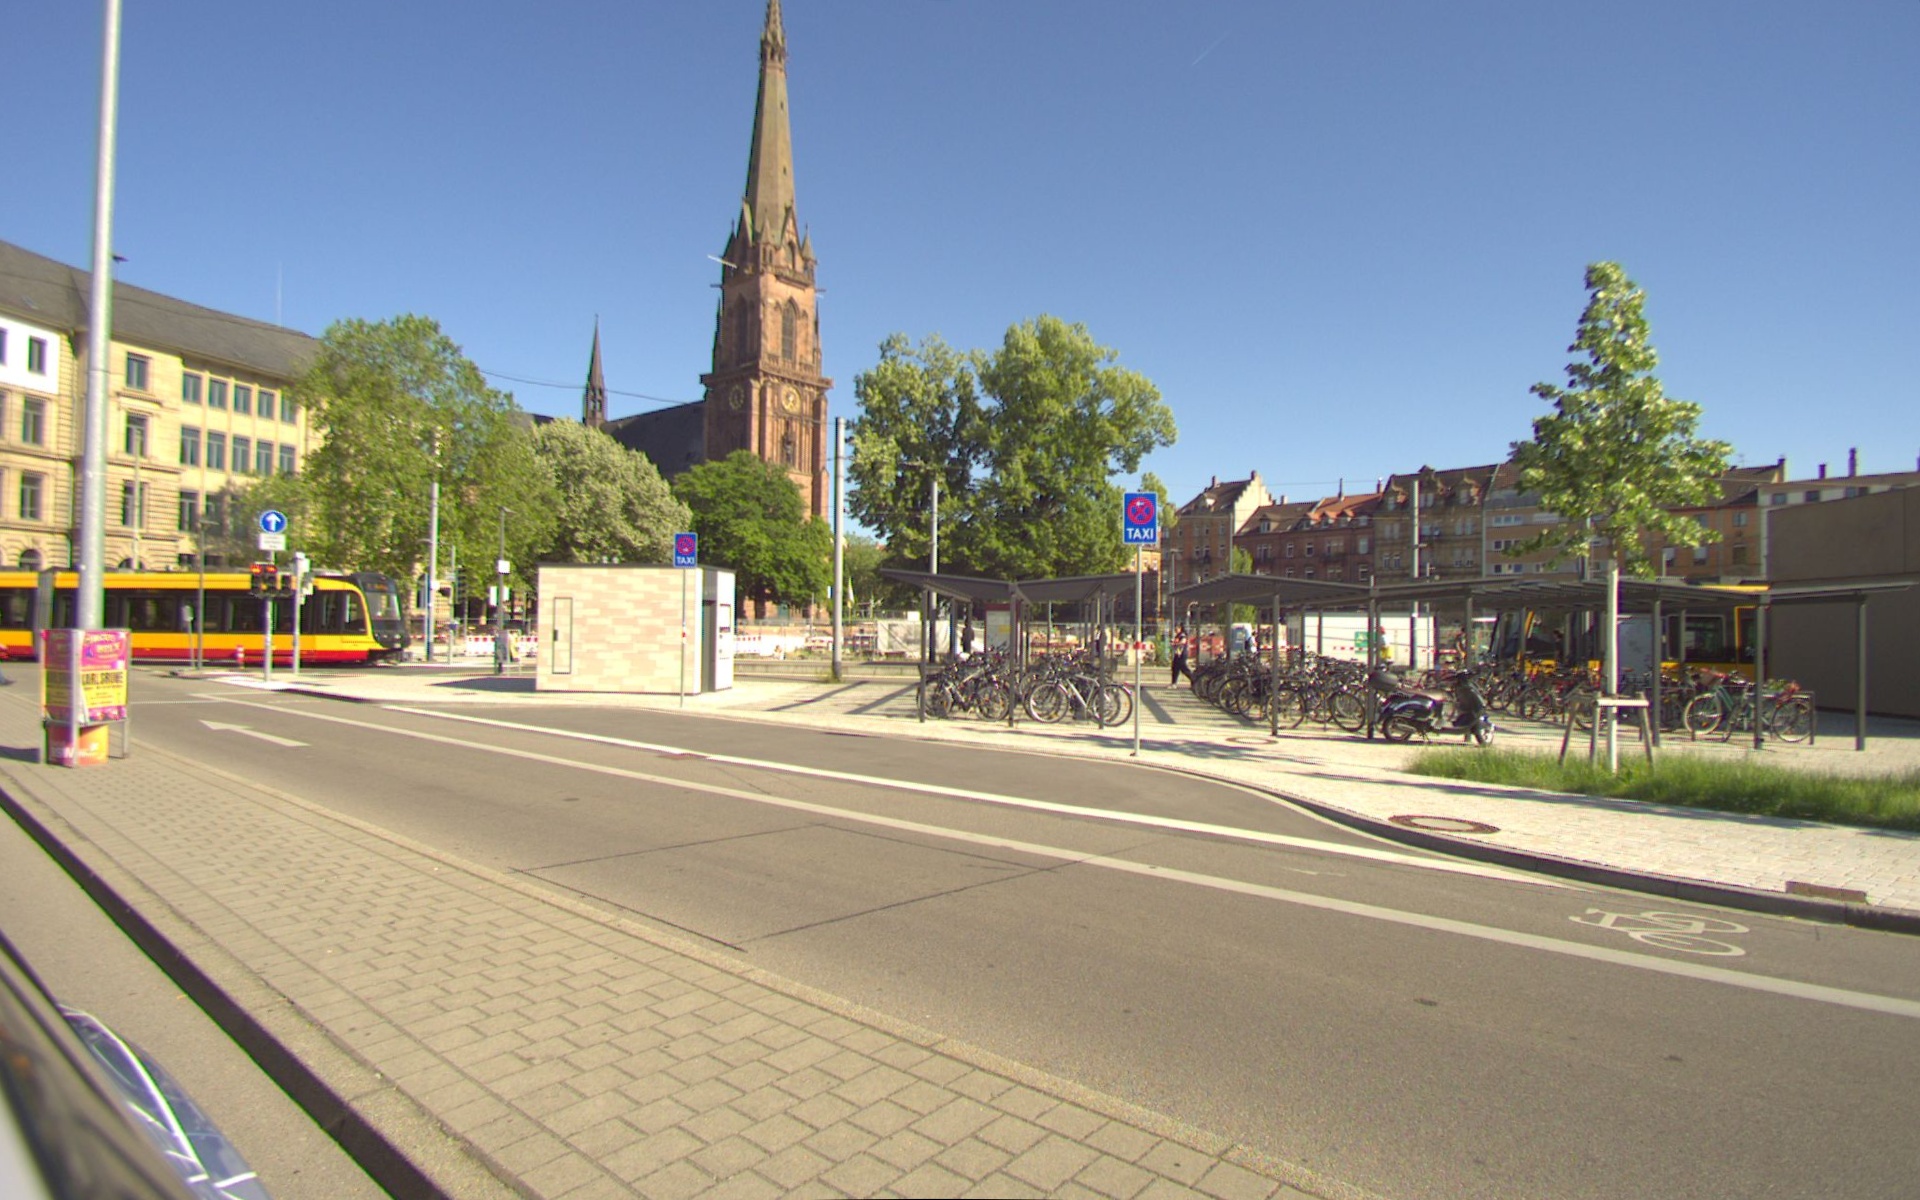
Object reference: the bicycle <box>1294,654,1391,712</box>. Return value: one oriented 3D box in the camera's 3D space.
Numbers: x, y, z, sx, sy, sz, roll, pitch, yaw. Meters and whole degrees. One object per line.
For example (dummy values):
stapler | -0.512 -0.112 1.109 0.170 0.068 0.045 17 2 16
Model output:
bicycle | 8.115 1.746 21.525 1.808 1.170 0.627 0 -2 7

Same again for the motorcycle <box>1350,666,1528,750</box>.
motorcycle | 7.172 1.604 15.230 2.333 1.167 0.610 0 -2 7

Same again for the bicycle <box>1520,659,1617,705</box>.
bicycle | 14.057 1.880 23.402 1.808 1.015 0.627 0 -2 7

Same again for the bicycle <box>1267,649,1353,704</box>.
bicycle | 8.240 1.785 23.873 1.808 1.242 0.627 0 -2 7

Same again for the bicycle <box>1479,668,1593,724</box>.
bicycle | 11.266 1.873 19.837 1.809 1.015 0.627 0 -2 9

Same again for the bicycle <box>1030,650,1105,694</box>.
bicycle | 2.636 1.758 24.806 1.808 1.015 0.627 0 -2 7

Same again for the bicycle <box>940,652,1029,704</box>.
bicycle | 0.516 1.615 21.137 1.809 1.015 0.627 0 -2 9

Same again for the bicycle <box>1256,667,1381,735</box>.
bicycle | 5.981 1.677 16.975 1.871 1.050 0.688 0 -2 9

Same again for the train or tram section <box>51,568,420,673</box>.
train or tram section | -26.460 0.724 37.189 12.174 3.628 2.828 0 -2 6

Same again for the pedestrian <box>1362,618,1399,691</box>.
pedestrian | 11.024 1.418 26.548 0.595 1.869 0.683 2 -2 -38

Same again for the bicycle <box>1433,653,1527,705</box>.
bicycle | 12.005 1.814 23.399 1.809 1.140 0.627 0 -2 9

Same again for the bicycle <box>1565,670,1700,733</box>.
bicycle | 11.607 1.742 17.522 1.872 1.004 0.499 0 -2 13

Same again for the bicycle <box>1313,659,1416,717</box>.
bicycle | 8.078 1.747 20.259 1.808 1.088 0.627 0 -2 7

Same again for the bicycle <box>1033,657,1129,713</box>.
bicycle | 2.325 1.635 19.538 1.808 1.015 0.745 0 -2 7

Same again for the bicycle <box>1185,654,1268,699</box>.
bicycle | 6.255 1.786 23.795 1.808 1.015 0.627 0 -2 6

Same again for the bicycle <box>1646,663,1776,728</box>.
bicycle | 13.594 1.716 18.356 1.808 1.101 0.627 0 -2 7

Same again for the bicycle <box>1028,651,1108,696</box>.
bicycle | 2.514 1.703 23.606 1.808 1.015 0.627 0 -2 7

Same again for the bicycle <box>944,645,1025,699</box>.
bicycle | 0.566 1.647 23.412 1.809 1.188 0.627 0 -2 9

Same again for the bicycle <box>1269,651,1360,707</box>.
bicycle | 7.932 1.767 22.675 1.808 1.198 0.647 0 -2 7

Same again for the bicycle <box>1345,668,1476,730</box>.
bicycle | 7.923 1.731 17.873 2.003 1.015 0.627 0 -2 7

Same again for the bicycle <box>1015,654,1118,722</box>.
bicycle | 1.913 1.578 18.273 1.808 1.157 0.627 0 -2 7

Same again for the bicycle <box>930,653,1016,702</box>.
bicycle | 0.293 1.691 22.168 1.809 1.015 0.627 0 -2 9

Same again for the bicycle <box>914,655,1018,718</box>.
bicycle | 0.120 1.538 18.234 1.809 1.074 0.627 0 -2 9

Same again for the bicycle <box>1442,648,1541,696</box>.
bicycle | 11.691 1.577 22.304 1.809 1.015 0.627 0 -2 9

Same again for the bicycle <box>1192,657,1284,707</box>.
bicycle | 5.973 1.757 21.803 1.805 1.015 0.629 0 -2 0

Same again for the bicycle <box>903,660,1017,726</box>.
bicycle | 0.009 1.583 17.366 1.847 1.015 0.699 2 -2 9

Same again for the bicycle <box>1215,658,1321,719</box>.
bicycle | 5.880 1.682 19.407 1.859 1.101 0.626 0 -2 8

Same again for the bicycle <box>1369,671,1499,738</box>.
bicycle | 7.771 1.704 16.647 1.808 1.015 0.627 0 -2 7

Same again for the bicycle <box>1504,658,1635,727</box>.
bicycle | 11.301 1.703 18.798 2.029 1.218 0.505 0 -2 8

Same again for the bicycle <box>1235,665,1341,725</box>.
bicycle | 5.857 1.686 18.129 1.731 1.015 0.547 0 -2 10

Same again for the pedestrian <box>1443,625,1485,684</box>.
pedestrian | 17.669 1.902 35.506 0.997 2.029 0.872 0 -2 0

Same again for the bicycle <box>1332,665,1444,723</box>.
bicycle | 8.004 1.749 18.967 1.808 1.015 0.627 0 -2 7

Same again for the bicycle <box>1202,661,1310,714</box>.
bicycle | 5.953 1.761 20.428 1.978 1.015 0.628 0 -2 4

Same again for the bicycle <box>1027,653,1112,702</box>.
bicycle | 2.381 1.688 22.120 1.808 1.015 0.627 0 -2 7

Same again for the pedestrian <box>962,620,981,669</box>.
pedestrian | 0.446 1.696 39.088 0.673 1.869 0.604 0 -2 7

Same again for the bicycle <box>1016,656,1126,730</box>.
bicycle | 1.869 1.556 17.130 1.808 1.167 0.627 1 -2 7

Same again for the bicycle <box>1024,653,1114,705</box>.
bicycle | 2.233 1.609 20.845 1.808 1.015 0.627 0 -2 7

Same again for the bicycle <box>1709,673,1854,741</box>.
bicycle | 13.024 1.695 16.073 1.803 1.015 0.629 1 -2 -3

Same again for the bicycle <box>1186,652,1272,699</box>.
bicycle | 6.125 1.721 23.107 1.807 1.015 0.628 0 -2 5

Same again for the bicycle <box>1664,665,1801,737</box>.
bicycle | 12.995 1.688 17.061 1.805 1.155 0.629 0 -2 0

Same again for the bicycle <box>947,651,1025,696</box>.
bicycle | 0.624 1.751 24.111 1.809 1.015 0.627 0 -2 9

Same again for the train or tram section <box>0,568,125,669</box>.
train or tram section | -38.627 0.670 38.499 12.174 3.628 2.796 0 -2 6

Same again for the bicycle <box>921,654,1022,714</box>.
bicycle | 0.216 1.544 18.762 1.809 1.059 0.571 0 -2 9

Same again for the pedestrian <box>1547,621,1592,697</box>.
pedestrian | 15.295 1.470 25.391 0.700 1.869 0.751 2 -2 -38

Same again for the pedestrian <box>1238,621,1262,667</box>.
pedestrian | 12.957 1.941 45.240 0.861 2.029 0.749 0 -2 5

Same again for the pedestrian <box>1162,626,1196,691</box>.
pedestrian | 5.675 1.502 26.233 0.762 1.672 0.604 0 -2 4

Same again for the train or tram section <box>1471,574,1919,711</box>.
train or tram section | 21.464 1.152 28.659 12.179 3.628 2.748 0 -2 7

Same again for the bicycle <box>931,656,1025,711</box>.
bicycle | 0.365 1.635 19.981 1.809 1.015 0.627 0 -2 9

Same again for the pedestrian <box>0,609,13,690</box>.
pedestrian | -22.463 1.128 23.226 0.947 1.864 0.732 4 -4 -42

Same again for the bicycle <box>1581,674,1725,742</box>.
bicycle | 11.163 1.723 16.346 1.809 1.015 0.627 0 -2 9

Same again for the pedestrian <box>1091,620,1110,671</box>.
pedestrian | 5.141 1.654 37.029 0.673 1.869 0.604 0 -2 6
